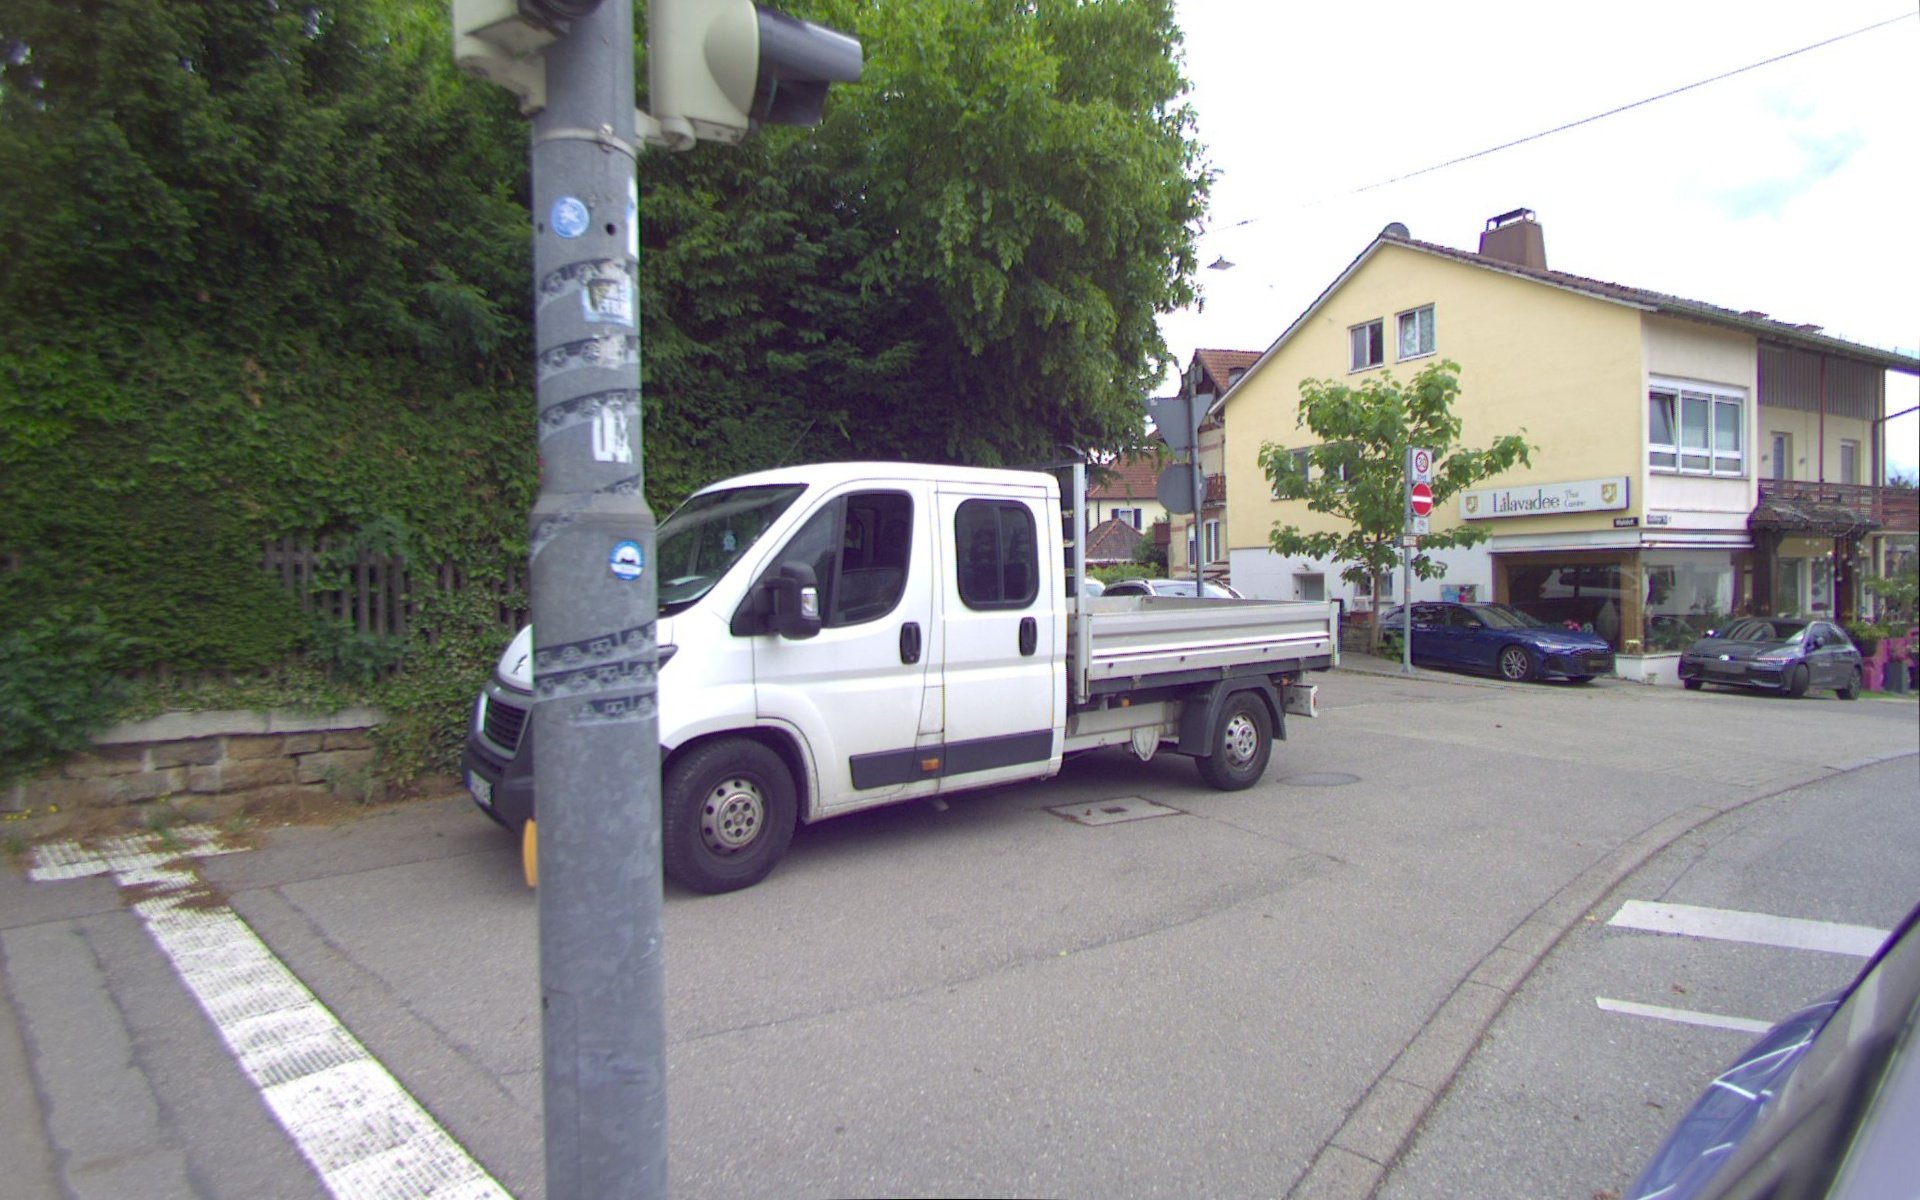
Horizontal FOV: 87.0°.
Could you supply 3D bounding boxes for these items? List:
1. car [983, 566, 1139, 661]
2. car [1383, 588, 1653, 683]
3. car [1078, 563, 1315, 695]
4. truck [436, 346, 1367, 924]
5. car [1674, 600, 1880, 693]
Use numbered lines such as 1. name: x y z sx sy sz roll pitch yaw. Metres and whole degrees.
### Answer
1. car: 1.871 0.201 20.091 1.829 1.681 4.075 0 1 -13
2. car: 10.517 0.614 19.442 1.891 1.548 4.237 3 0 -23
3. car: 3.282 0.325 14.969 1.830 1.660 4.075 -1 1 -12
4. truck: -0.013 0.067 6.955 6.074 2.381 2.404 -1 2 -37
5. car: 15.194 0.867 18.782 3.806 1.512 1.876 4 -2 -33
